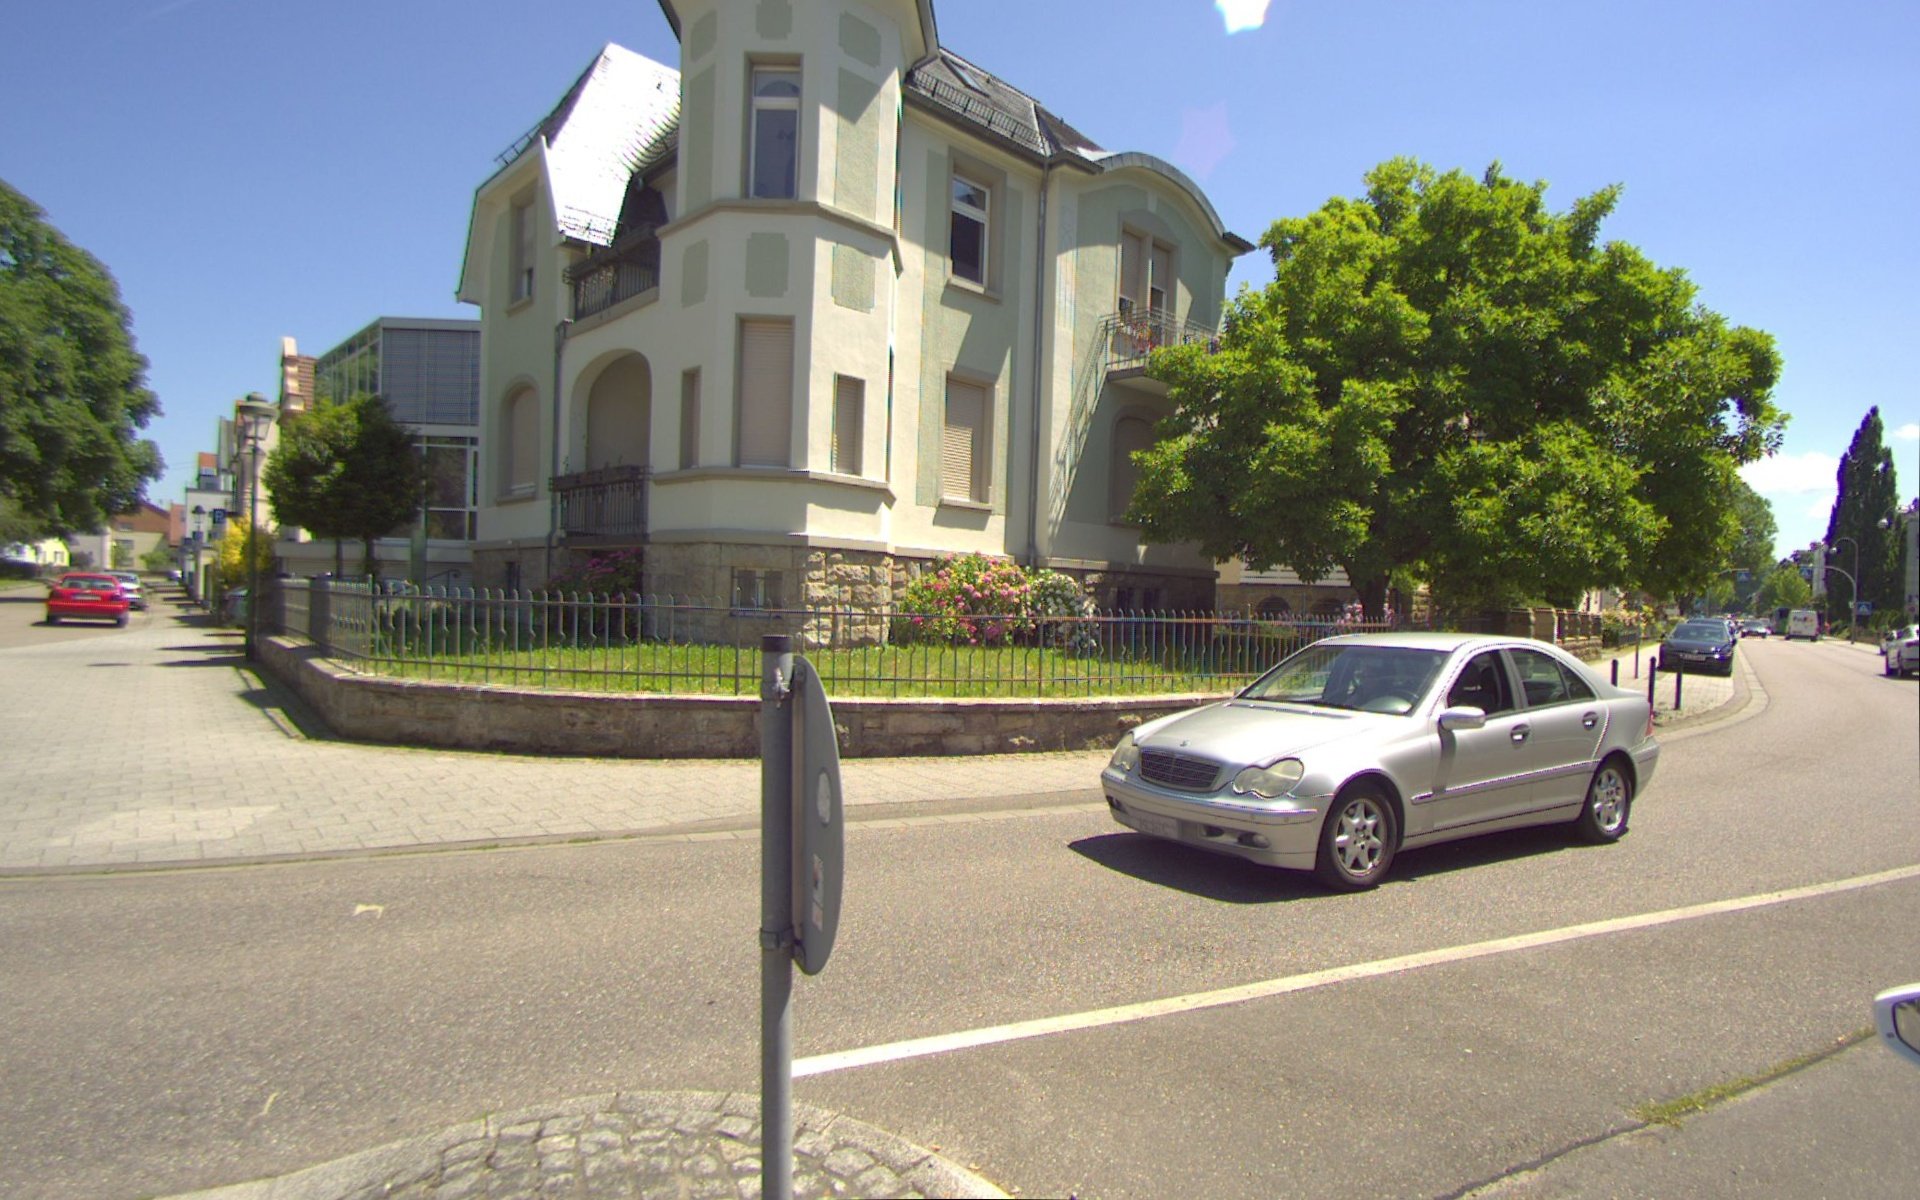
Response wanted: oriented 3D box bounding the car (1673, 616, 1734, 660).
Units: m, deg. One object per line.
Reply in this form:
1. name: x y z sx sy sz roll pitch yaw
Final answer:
1. car: 31.393 1.568 42.365 1.902 1.594 4.640 5 2 38

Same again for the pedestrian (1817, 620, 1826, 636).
1. pedestrian: 95.999 3.064 111.905 0.684 1.759 0.666 1 0 33

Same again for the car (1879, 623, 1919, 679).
1. car: 29.843 1.527 30.897 1.912 1.635 4.453 -3 -3 38

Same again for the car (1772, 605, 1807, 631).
1. car: 71.731 1.550 86.927 2.043 2.226 5.120 -1 -1 36

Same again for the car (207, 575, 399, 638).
1. car: -16.658 0.164 25.602 3.961 1.454 1.862 1 2 -36

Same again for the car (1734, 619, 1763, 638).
1. car: 73.073 2.589 93.127 1.948 1.693 4.455 1 0 36

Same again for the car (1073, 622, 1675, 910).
1. car: 2.993 0.900 6.979 4.256 1.454 1.749 1 -1 -32

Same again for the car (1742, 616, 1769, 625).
1. car: 157.559 3.988 198.932 1.987 1.673 3.946 1 0 -45

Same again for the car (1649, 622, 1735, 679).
1. car: 22.267 1.467 30.474 1.902 1.456 4.640 5 2 38

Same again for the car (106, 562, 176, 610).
1. car: -33.013 -0.590 40.593 1.981 1.802 4.459 1 1 -37

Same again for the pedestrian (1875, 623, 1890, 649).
1. pedestrian: 65.028 2.529 70.824 0.628 1.782 0.615 1 0 33

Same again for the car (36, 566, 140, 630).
1. car: -24.297 -0.086 28.134 1.983 1.640 4.456 1 1 -38
